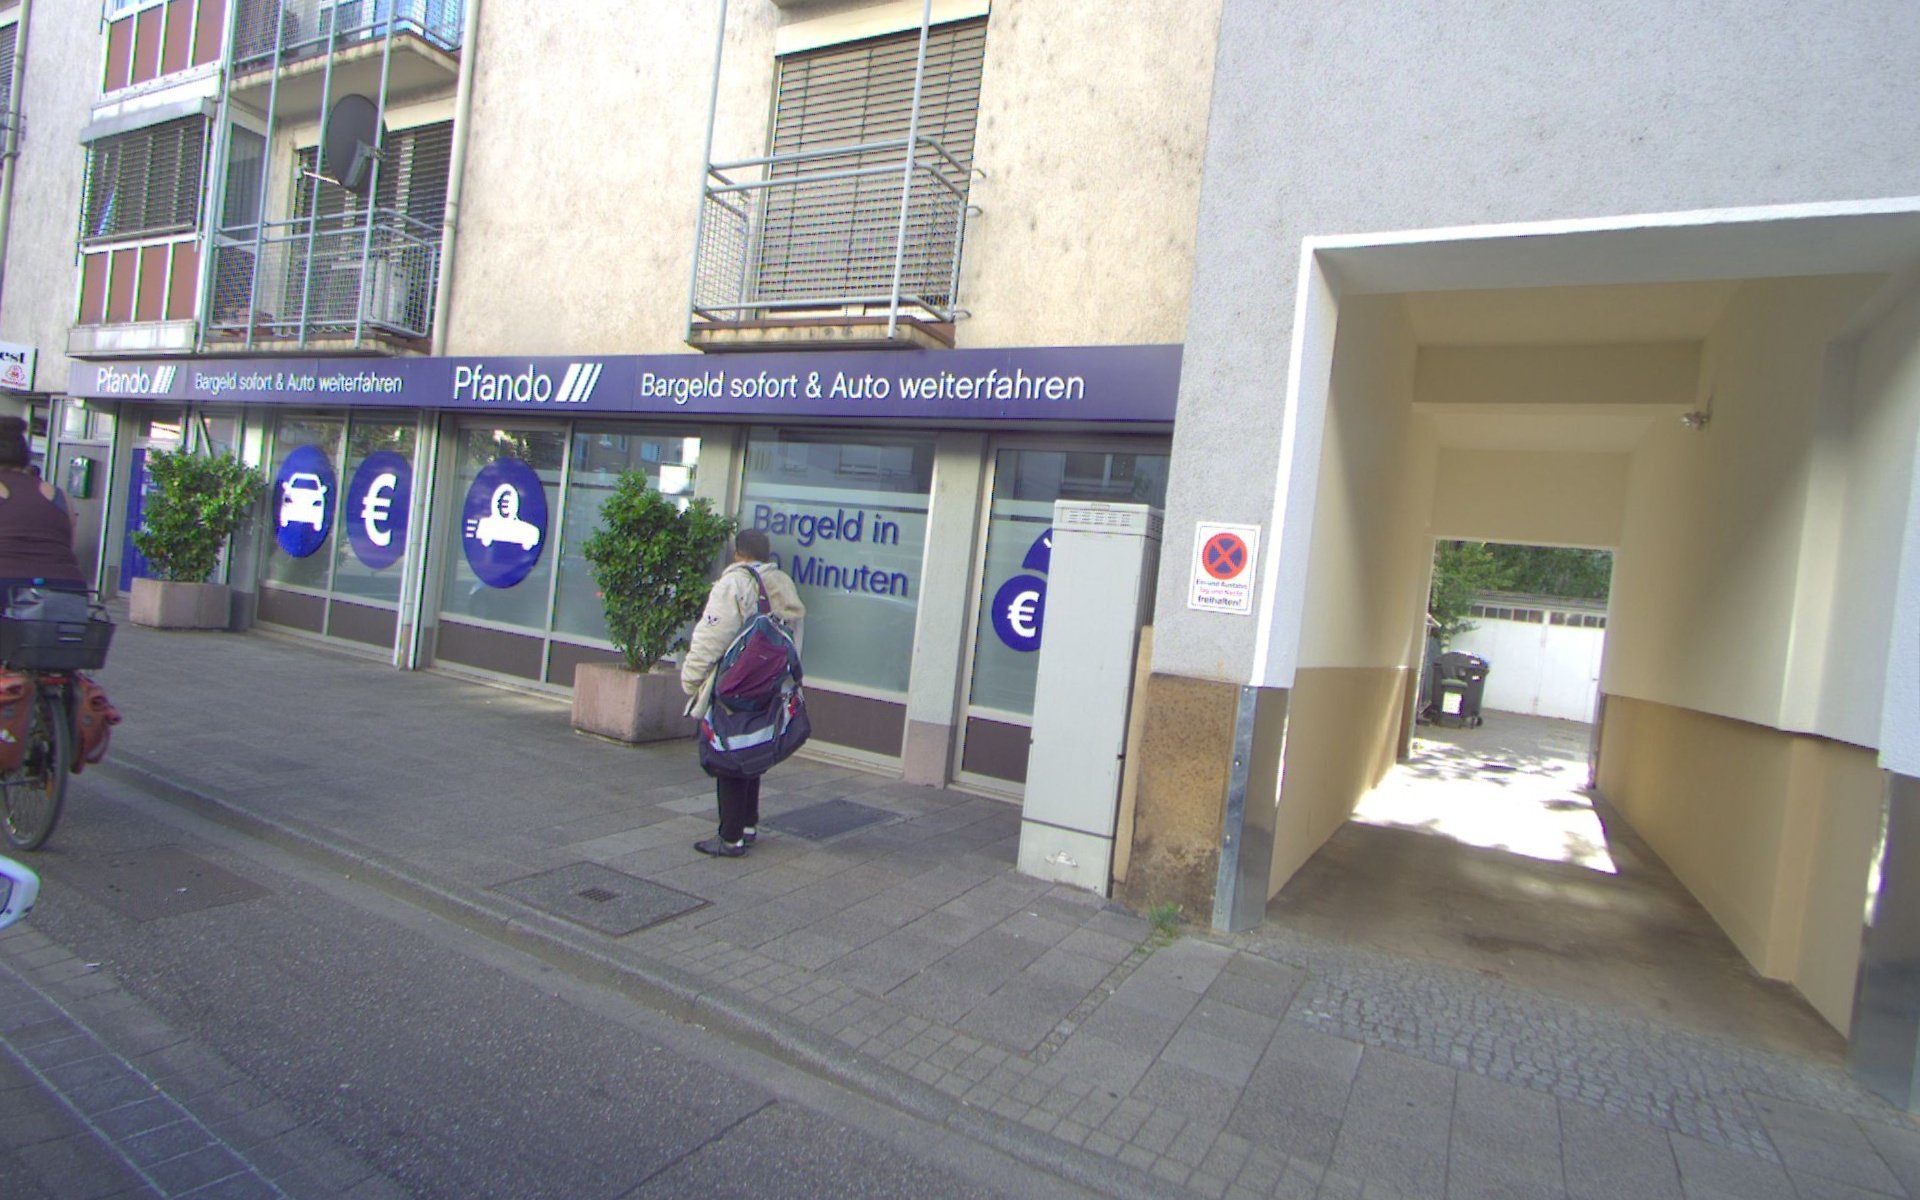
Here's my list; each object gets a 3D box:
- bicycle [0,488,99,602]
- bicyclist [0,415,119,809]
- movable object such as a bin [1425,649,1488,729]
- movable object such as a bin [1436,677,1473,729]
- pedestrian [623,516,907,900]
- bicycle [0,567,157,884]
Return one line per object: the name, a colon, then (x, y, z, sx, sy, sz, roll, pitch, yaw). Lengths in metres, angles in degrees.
bicycle: (-11.844, -0.728, 12.879, 1.879, 1.280, 0.640, 7, 1, 32)
bicyclist: (-4.313, 0.028, 4.420, 0.747, 1.650, 0.617, 7, 1, 30)
movable object such as a bin: (10.112, 1.787, 20.456, 0.945, 1.426, 1.598, 7, 1, 29)
movable object such as a bin: (9.560, 1.980, 19.453, 0.518, 0.922, 0.580, 7, 1, 29)
pedestrian: (-0.927, 0.462, 4.878, 0.853, 1.593, 0.874, 8, 3, 29)
bicycle: (-4.378, 0.453, 4.432, 1.854, 1.117, 0.617, 7, 1, 30)
